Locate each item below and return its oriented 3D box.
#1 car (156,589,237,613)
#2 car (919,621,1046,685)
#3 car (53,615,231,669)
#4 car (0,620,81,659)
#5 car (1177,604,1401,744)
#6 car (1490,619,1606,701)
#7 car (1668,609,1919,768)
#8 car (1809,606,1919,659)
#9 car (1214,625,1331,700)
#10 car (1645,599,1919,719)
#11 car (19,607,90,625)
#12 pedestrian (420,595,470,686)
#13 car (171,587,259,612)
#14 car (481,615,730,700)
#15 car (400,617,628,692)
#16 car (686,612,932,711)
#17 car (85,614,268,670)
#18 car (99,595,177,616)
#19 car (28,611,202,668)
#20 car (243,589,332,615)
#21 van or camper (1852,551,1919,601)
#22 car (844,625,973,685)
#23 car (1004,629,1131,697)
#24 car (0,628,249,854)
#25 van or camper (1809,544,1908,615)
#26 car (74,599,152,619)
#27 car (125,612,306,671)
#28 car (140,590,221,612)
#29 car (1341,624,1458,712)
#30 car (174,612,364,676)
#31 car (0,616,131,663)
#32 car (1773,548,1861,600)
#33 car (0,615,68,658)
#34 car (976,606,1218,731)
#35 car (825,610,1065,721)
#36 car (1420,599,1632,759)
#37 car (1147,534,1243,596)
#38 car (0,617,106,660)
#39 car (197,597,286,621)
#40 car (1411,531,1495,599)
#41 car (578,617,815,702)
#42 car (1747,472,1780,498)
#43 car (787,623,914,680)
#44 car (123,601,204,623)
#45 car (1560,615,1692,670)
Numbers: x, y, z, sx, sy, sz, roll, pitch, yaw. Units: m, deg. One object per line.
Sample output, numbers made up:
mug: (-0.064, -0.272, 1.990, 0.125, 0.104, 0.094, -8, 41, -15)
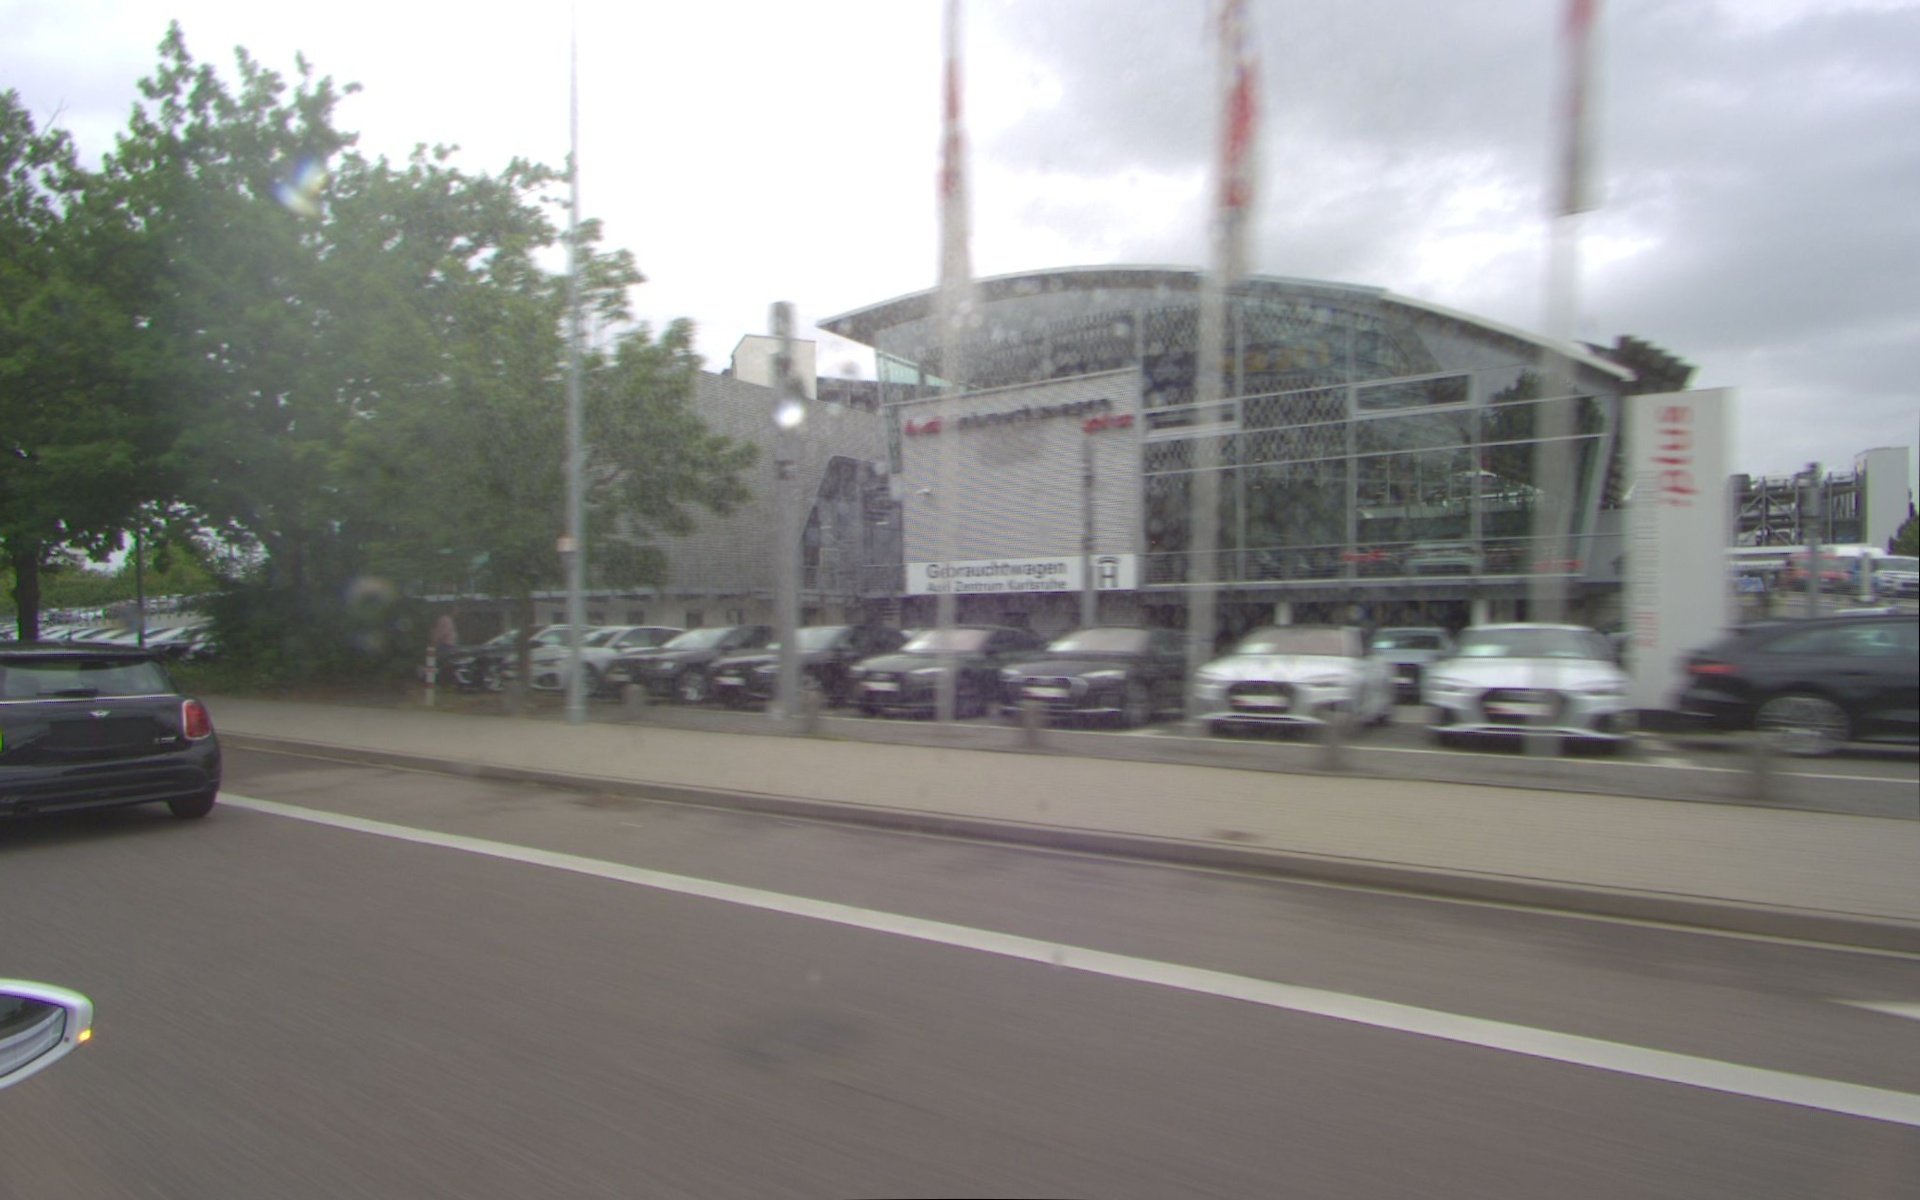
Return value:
car: (-51.894, 0.075, 68.119, 1.704, 1.516, 4.080, 1, 0, 31)
car: (0.707, 1.472, 28.178, 1.789, 1.600, 3.952, 1, -2, 31)
car: (-27.392, 1.449, 33.676, 1.948, 1.504, 4.179, 1, -4, 32)
car: (-40.064, 1.598, 42.128, 1.932, 1.463, 4.173, 1, -5, 33)
car: (4.403, 0.916, 12.984, 1.850, 1.504, 4.026, -1, -3, 32)
car: (12.509, 1.258, 21.218, 1.901, 1.504, 4.244, 1, -2, 32)
car: (10.008, 0.877, 9.997, 4.688, 1.504, 1.884, -1, -3, 33)
car: (30.933, 1.118, 34.194, 4.390, 1.679, 1.910, 1, -2, -35)
car: (7.494, 1.403, 23.785, 1.702, 1.563, 3.980, 1, 0, 32)
car: (15.157, 0.982, 17.896, 4.750, 1.965, 1.989, -1, 0, 33)
car: (-74.855, 1.328, 82.843, 1.704, 1.454, 4.080, 1, 0, 31)
pedestrian: (-11.021, 0.867, 21.441, 0.709, 1.895, 0.670, 0, -1, 31)
car: (-49.651, -0.005, 66.806, 1.854, 1.516, 4.329, 1, 0, 31)
car: (-7.008, 1.142, 20.312, 1.821, 1.490, 4.644, 0, -3, 31)
car: (-9.475, 1.149, 21.628, 1.829, 1.439, 4.199, 0, -3, 31)
car: (-2.457, 1.056, 17.445, 1.867, 1.489, 4.361, 0, -3, 31)
car: (-25.225, 1.384, 32.386, 1.930, 1.504, 4.194, 1, -4, 31)
car: (-60.401, 0.439, 73.622, 1.704, 1.454, 4.080, 1, 0, 31)
car: (-29.431, 1.424, 35.003, 1.972, 1.682, 4.172, 1, -4, 33)
car: (-42.467, 0.164, 63.309, 1.854, 1.516, 4.329, 1, 0, 31)
van or camper: (35.208, -0.871, 37.485, 1.971, 1.672, 3.980, 1, 0, 32)
car: (-1.436, 1.543, 29.446, 1.789, 1.564, 4.095, 1, 0, 31)
car: (2.906, 1.621, 26.454, 1.789, 1.600, 3.952, 1, -2, 31)
car: (-7.554, 0.973, 8.065, 3.591, 1.434, 1.782, 0, -1, 33)
van or camper: (41.760, -0.899, 46.676, 2.507, 3.066, 4.819, 2, 0, 32)
car: (-64.635, 0.713, 76.482, 1.704, 1.454, 4.193, 1, 0, 31)
car: (-23.008, 1.327, 31.089, 1.792, 1.503, 4.062, 1, -5, 31)
car: (-54.082, 0.074, 69.528, 1.704, 1.454, 4.080, 1, 0, 31)
car: (9.935, 1.423, 22.469, 1.784, 1.718, 4.297, 1, 0, 32)
car: (-20.483, 1.346, 29.856, 1.799, 1.503, 4.208, 2, -6, 31)
car: (-35.886, 1.563, 39.540, 1.971, 1.538, 4.391, 2, -5, 33)
car: (33.392, -0.977, 39.122, 1.971, 1.873, 3.980, 1, 0, 32)
car: (-42.183, 1.484, 43.576, 1.972, 1.722, 4.547, 1, -5, 33)
car: (2.124, 0.955, 14.364, 1.845, 1.504, 4.213, -1, -3, 32)
car: (-0.081, 1.011, 15.892, 1.881, 1.504, 4.173, 0, -3, 31)
car: (6.672, 0.865, 11.685, 1.826, 1.504, 4.179, -1, -3, 33)
car: (7.386, -1.040, 31.240, 1.798, 1.684, 3.982, 1, 0, 30)
car: (-38.022, 1.554, 40.913, 2.000, 1.522, 4.290, 0, -5, 33)
car: (-47.235, 0.596, 65.891, 1.941, 1.516, 4.329, 1, 0, 31)
car: (13.928, -0.934, 28.166, 1.798, 1.684, 3.982, 1, 0, 30)
car: (-4.801, 1.106, 18.831, 1.875, 1.408, 4.150, -1, -3, 32)
car: (78.960, -11.261, 98.422, 1.971, 1.907, 3.981, -1, -1, 31)
car: (-3.315, 1.539, 31.074, 1.789, 1.564, 4.095, 1, 0, 31)
car: (-56.329, 0.864, 70.883, 1.918, 1.454, 4.080, 1, 0, 31)
car: (24.877, 1.556, 37.572, 3.940, 1.862, 1.752, 1, 0, 30)
